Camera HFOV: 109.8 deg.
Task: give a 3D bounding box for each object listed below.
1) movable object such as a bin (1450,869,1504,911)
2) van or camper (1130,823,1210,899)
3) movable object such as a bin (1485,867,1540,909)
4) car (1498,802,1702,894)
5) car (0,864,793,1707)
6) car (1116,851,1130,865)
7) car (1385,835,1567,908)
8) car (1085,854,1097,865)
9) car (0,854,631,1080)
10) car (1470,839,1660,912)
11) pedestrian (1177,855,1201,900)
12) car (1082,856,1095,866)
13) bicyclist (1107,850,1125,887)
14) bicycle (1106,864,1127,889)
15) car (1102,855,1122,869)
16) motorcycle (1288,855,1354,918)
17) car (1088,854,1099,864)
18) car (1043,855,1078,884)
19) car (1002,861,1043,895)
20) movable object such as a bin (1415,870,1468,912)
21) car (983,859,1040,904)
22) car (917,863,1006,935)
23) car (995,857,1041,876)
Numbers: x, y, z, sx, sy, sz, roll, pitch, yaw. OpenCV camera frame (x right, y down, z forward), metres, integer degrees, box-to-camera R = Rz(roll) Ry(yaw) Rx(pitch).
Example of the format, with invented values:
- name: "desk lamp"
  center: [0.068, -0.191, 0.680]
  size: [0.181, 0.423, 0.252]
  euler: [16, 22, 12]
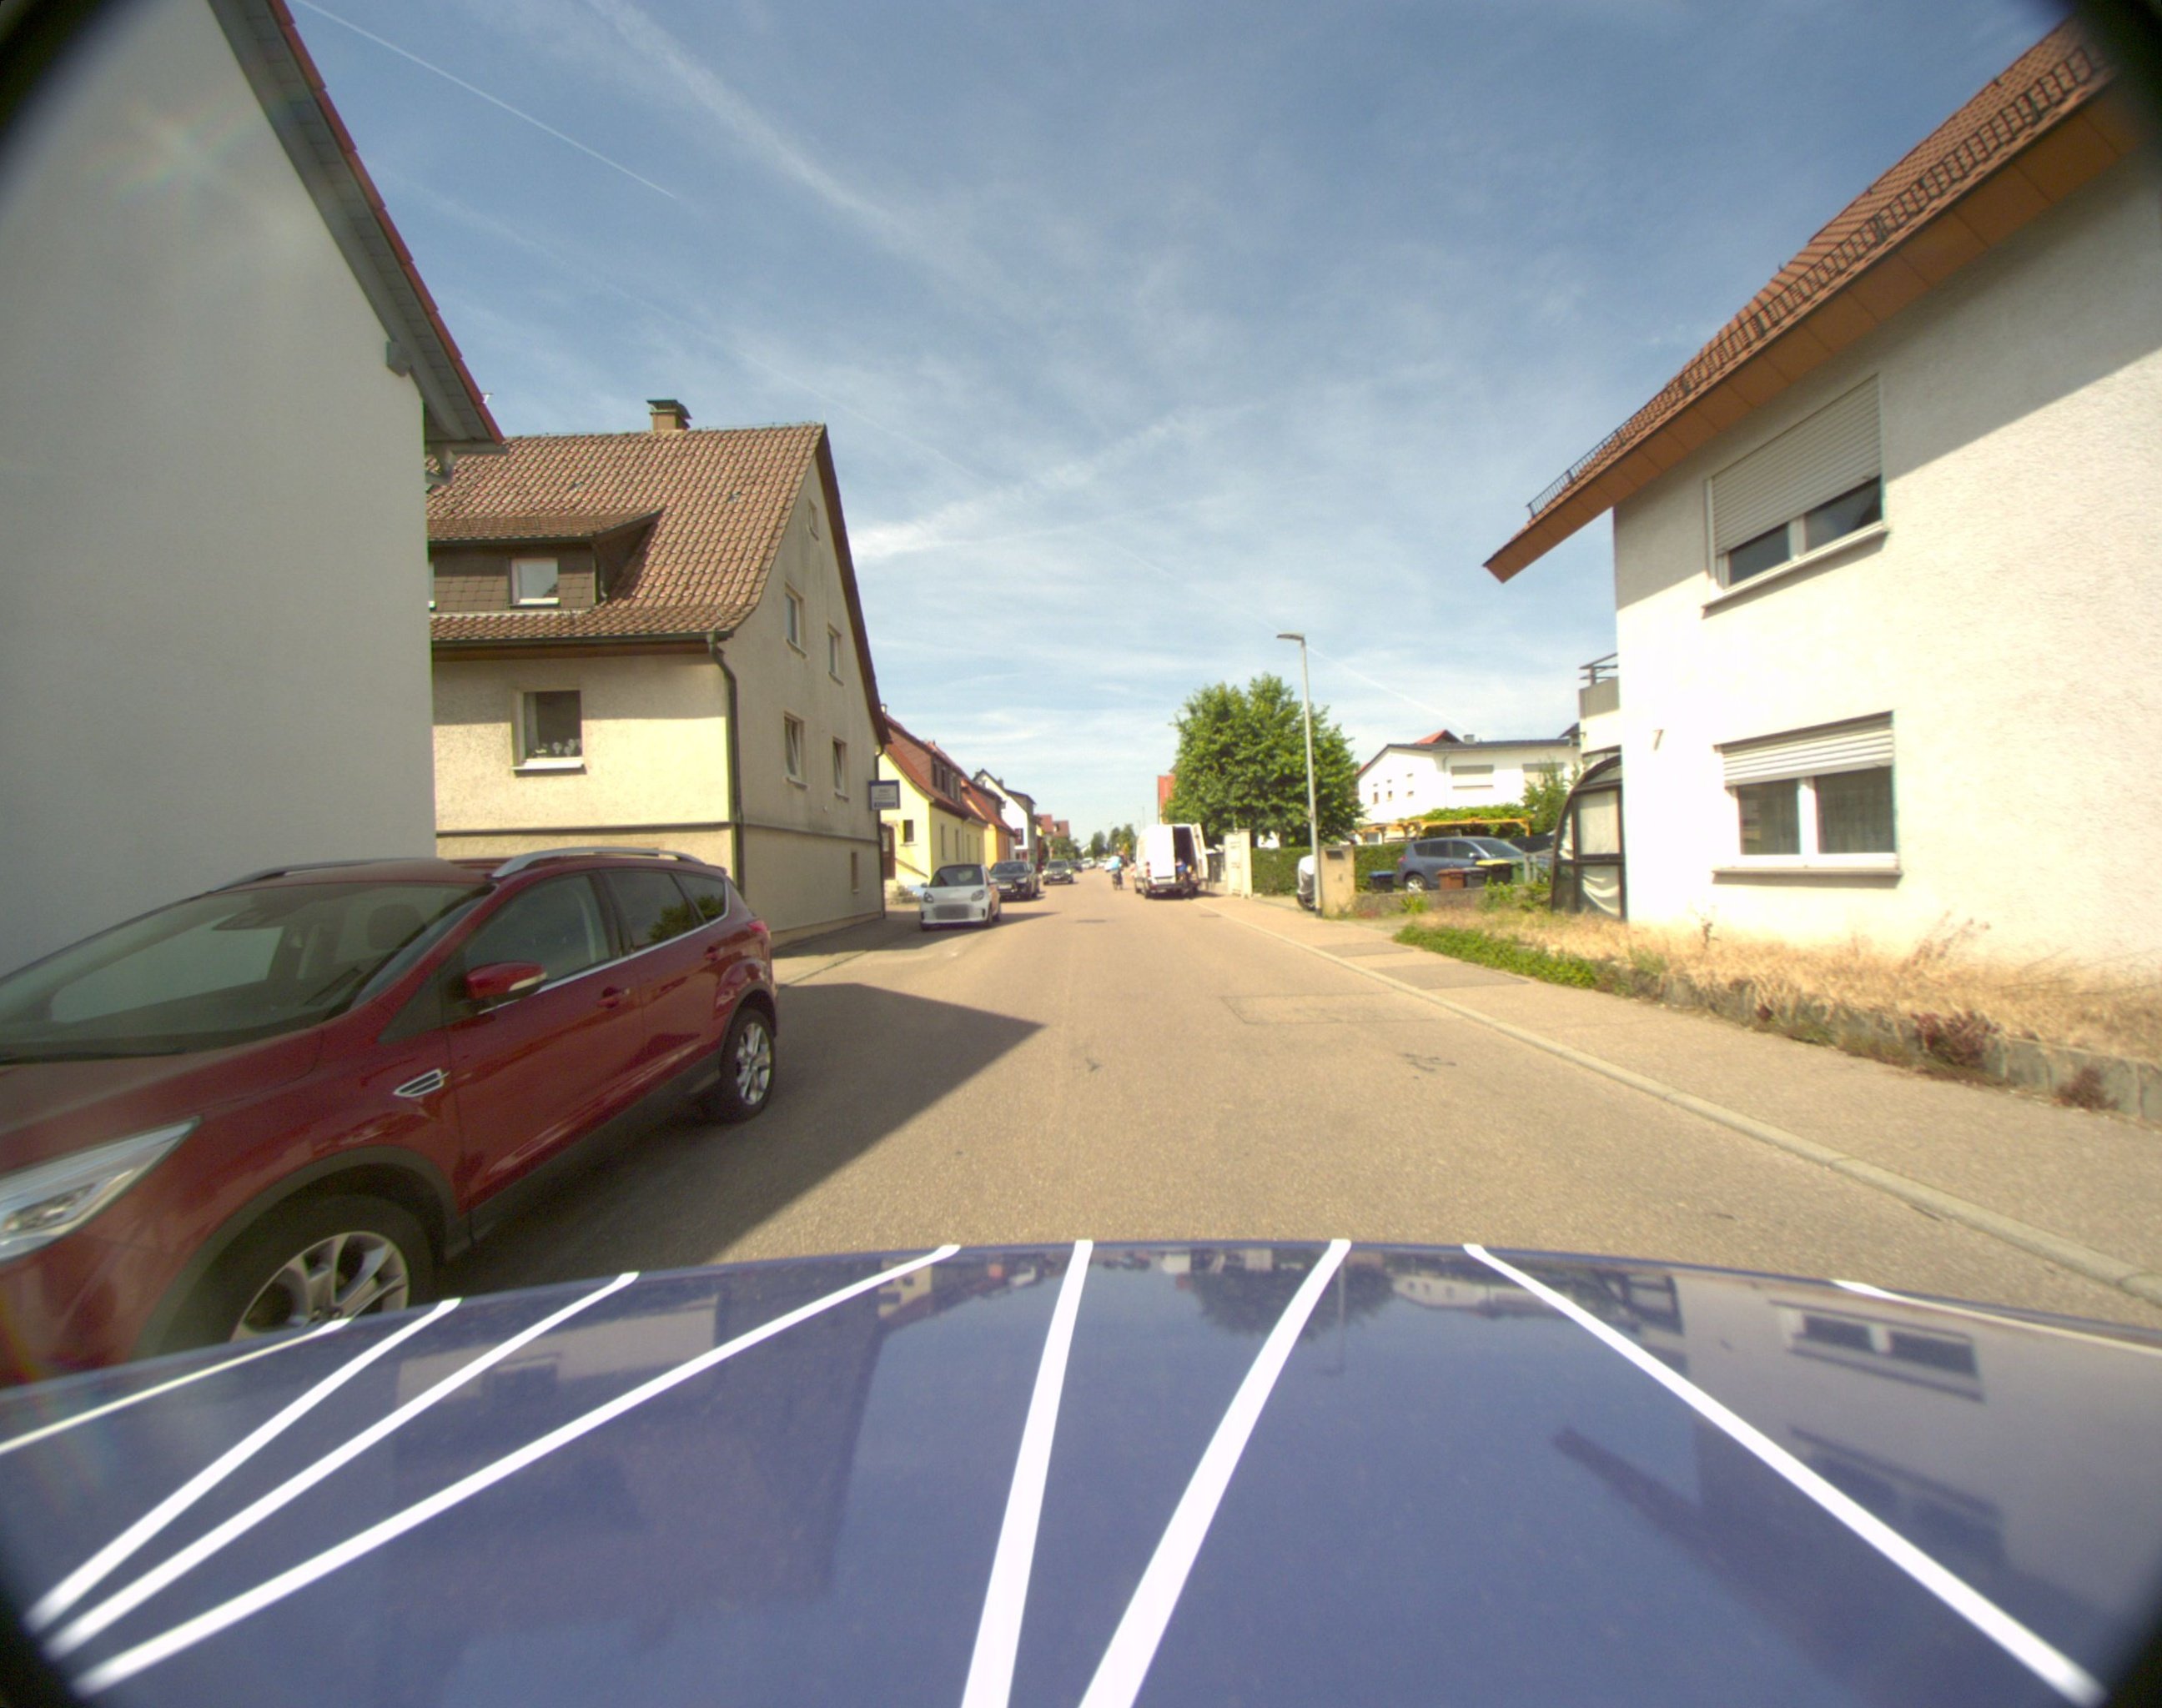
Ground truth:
- name: "movable object such as a bin"
  center: [8.990, 0.806, 17.273]
  size: [0.802, 0.900, 0.773]
  euler: [-2, 0, -1]
- name: "van or camper"
  center: [3.361, 0.266, 30.220]
  size: [2.190, 2.556, 6.806]
  euler: [-3, 0, -1]
- name: "movable object such as a bin"
  center: [9.809, 0.767, 17.300]
  size: [0.802, 0.900, 0.773]
  euler: [-2, 0, -1]
- name: "car"
  center: [15.620, -0.176, 23.052]
  size: [4.815, 2.478, 1.965]
  euler: [-2, 0, -1]
- name: "car"
  center: [-2.986, 0.958, 3.082]
  size: [1.880, 1.690, 4.183]
  euler: [-3, 0, 1]
- name: "car"
  center: [6.379, 0.566, 115.452]
  size: [1.972, 1.940, 4.697]
  euler: [-2, 0, 3]
- name: "car"
  center: [10.176, 0.420, 19.905]
  size: [1.776, 1.668, 3.931]
  euler: [-2, 0, -25]
- name: "car"
  center: [1.662, 0.950, 124.541]
  size: [1.740, 1.652, 4.338]
  euler: [-4, 0, 4]
- name: "car"
  center: [-7.629, 1.026, 7.950]
  size: [4.528, 1.832, 2.000]
  euler: [-3, 0, -2]
- name: "car"
  center: [12.727, 0.530, 20.307]
  size: [1.735, 1.668, 4.102]
  euler: [-2, 0, -17]
- name: "pedestrian"
  center: [3.741, 0.798, 26.408]
  size: [0.574, 1.509, 0.726]
  euler: [-5, 1, -2]
- name: "car"
  center: [1.135, 1.103, 117.393]
  size: [1.755, 1.412, 4.422]
  euler: [-3, 0, 4]
- name: "bicyclist"
  center: [1.718, 0.690, 37.147]
  size: [0.714, 1.788, 0.943]
  euler: [-2, 0, 11]
- name: "bicycle"
  center: [1.761, 1.093, 37.327]
  size: [0.671, 1.126, 2.191]
  euler: [-2, 0, 11]
- name: "car"
  center: [3.316, 0.858, 82.640]
  size: [1.928, 1.390, 4.494]
  euler: [-2, 0, -1]
- name: "motorcycle"
  center: [5.721, 0.726, 18.259]
  size: [0.785, 1.385, 2.352]
  euler: [-2, 0, 0]
- name: "car"
  center: [2.315, 0.894, 136.475]
  size: [1.669, 1.739, 4.057]
  euler: [-4, 0, 4]
- name: "car"
  center: [-1.287, 0.964, 48.530]
  size: [1.838, 1.637, 4.324]
  euler: [-3, 0, 3]
- name: "car"
  center: [-2.722, 1.110, 36.132]
  size: [1.615, 1.422, 3.754]
  euler: [-3, 0, -1]
- name: "movable object such as a bin"
  center: [8.178, 0.833, 17.256]
  size: [0.802, 0.900, 0.773]
  euler: [-2, 0, -1]
- name: "car"
  center: [-2.691, 1.033, 30.417]
  size: [1.733, 1.590, 4.253]
  euler: [-3, 0, 1]
- name: "car"
  center: [-2.904, 1.047, 18.967]
  size: [1.678, 1.550, 3.040]
  euler: [-3, 0, 0]
- name: "car"
  center: [-6.411, 1.299, 77.612]
  size: [4.301, 1.643, 1.849]
  euler: [-3, 0, 9]
